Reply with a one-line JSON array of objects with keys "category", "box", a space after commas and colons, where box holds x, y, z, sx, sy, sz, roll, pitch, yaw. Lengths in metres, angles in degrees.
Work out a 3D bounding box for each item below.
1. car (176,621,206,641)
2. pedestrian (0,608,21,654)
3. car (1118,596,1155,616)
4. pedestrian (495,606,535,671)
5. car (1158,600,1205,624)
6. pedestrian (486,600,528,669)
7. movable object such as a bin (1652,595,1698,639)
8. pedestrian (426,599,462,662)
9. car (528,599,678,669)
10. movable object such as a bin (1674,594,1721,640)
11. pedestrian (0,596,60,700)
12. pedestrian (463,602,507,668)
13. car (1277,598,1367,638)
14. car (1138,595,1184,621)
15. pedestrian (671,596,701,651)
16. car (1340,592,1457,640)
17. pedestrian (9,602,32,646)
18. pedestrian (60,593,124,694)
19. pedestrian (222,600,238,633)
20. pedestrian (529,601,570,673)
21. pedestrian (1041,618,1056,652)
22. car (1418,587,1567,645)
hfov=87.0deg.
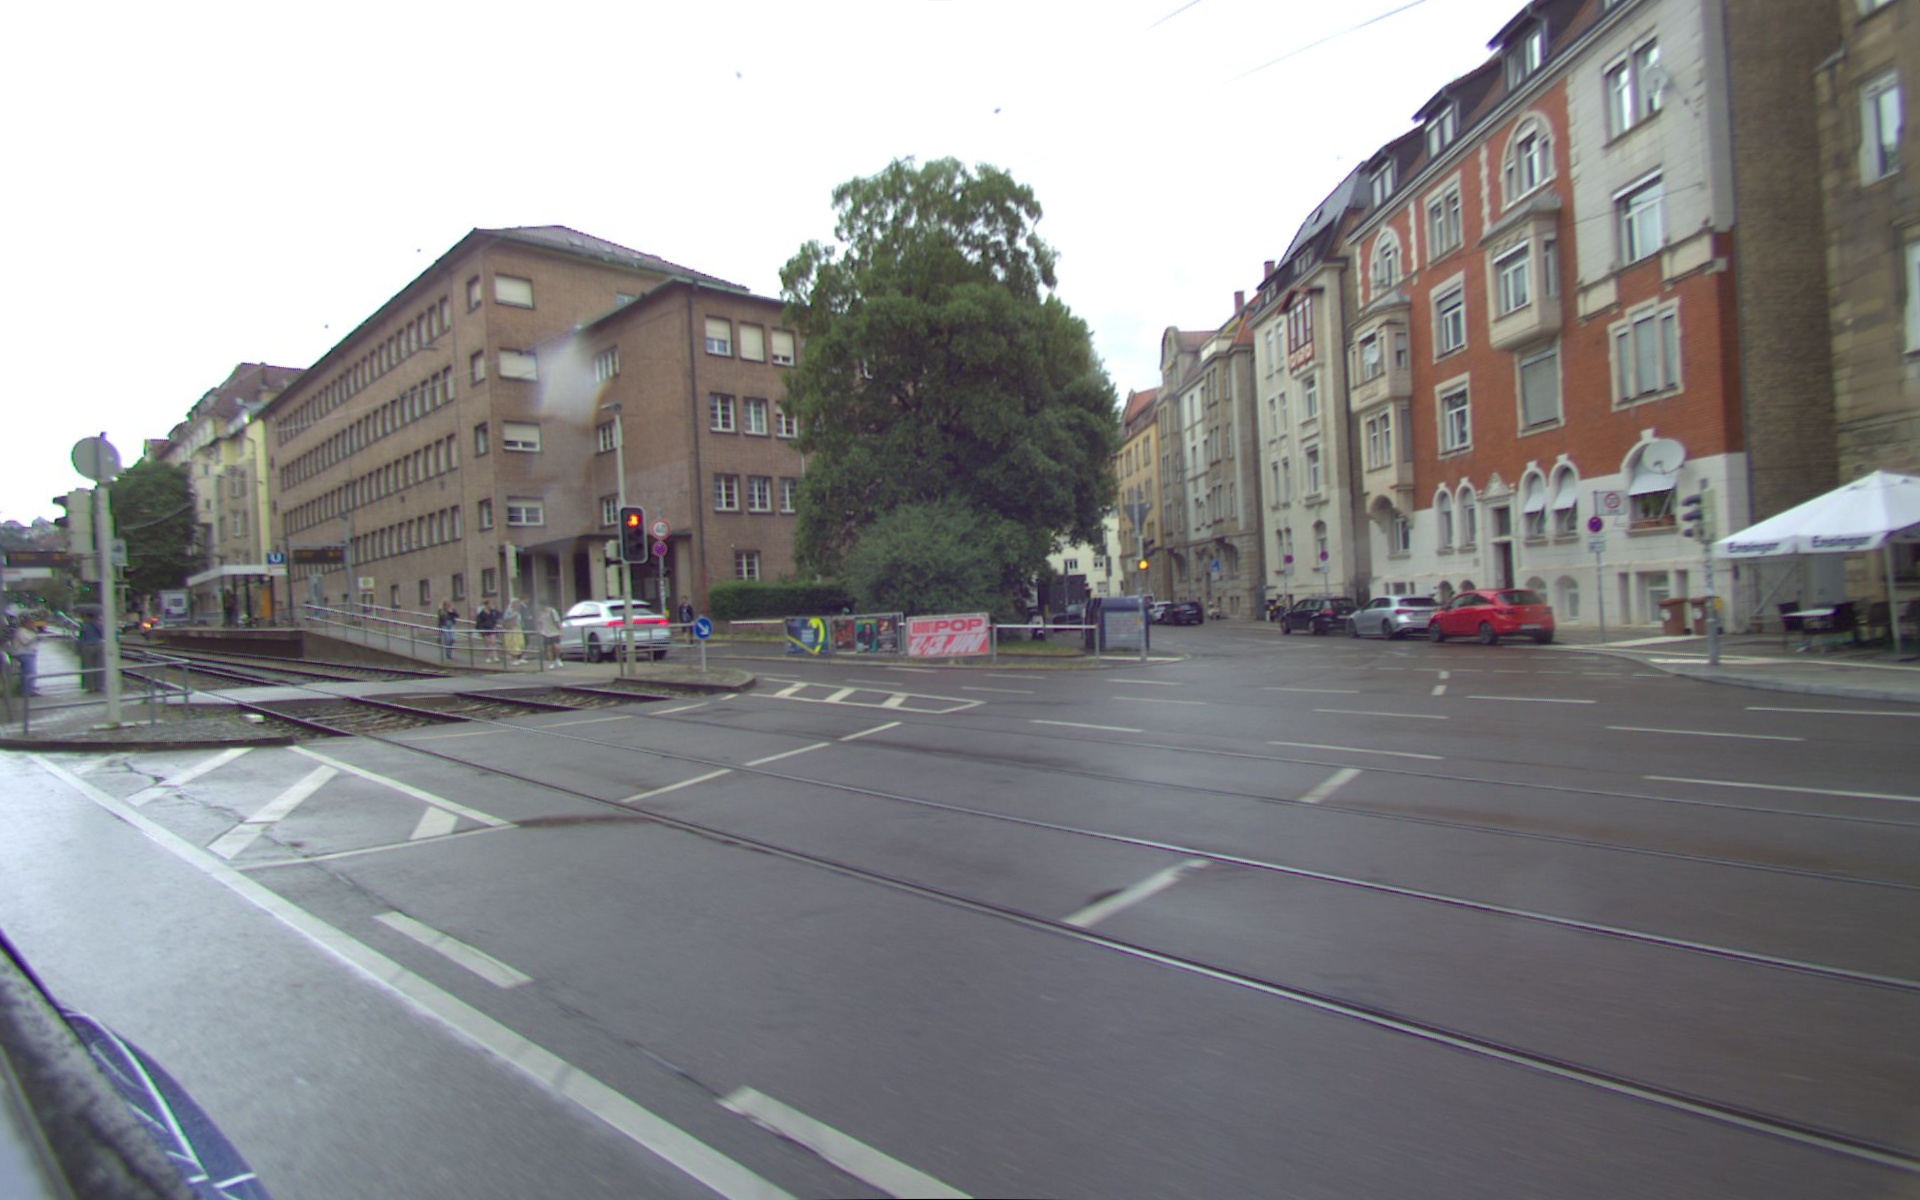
[{"category": "car", "box": [-62.551, 2.501, 82.274, 1.625, 1.477, 3.114, -2, 0, -43]}, {"category": "pedestrian", "box": [-37.986, 1.232, 40.046, 1.101, 1.788, 1.112, -3, 1, -45]}, {"category": "car", "box": [12.682, 0.428, 73.002, 1.716, 1.413, 4.003, -1, -1, -3]}, {"category": "pedestrian", "box": [-11.656, 0.993, 26.509, 0.649, 1.662, 0.756, 2, 1, 44]}, {"category": "car", "box": [13.459, 0.727, 61.635, 1.716, 1.413, 4.003, -1, -1, -3]}, {"category": "pedestrian", "box": [-11.444, 0.846, 25.586, 0.735, 1.659, 0.641, -4, 4, -44]}, {"category": "movable object such as a bin", "box": [17.447, 0.403, 24.696, 0.709, 1.050, 0.552, -1, 0, -14]}, {"category": "pedestrian", "box": [-14.470, 0.838, 28.388, 0.688, 1.711, 0.657, 1, 3, 42]}, {"category": "car", "box": [-10.085, 0.864, 28.310, 1.970, 1.640, 5.258, 0, 1, -44]}, {"category": "movable object such as a bin", "box": [17.563, 0.401, 24.110, 0.709, 1.050, 0.552, -1, 0, -14]}, {"category": "pedestrian", "box": [-19.129, 0.956, 20.482, 0.916, 2.029, 0.947, -2, 0, 0]}, {"category": "pedestrian", "box": [-12.712, 0.918, 27.078, 0.883, 1.709, 0.735, 1, 3, 44]}, {"category": "car", "box": [13.700, 0.657, 38.575, 1.716, 1.413, 4.146, -1, -1, -3]}, {"category": "car", "box": [13.234, 0.532, 66.916, 1.970, 1.643, 4.003, -1, 0, -4]}, {"category": "pedestrian", "box": [-8.519, 0.717, 31.494, 0.688, 1.688, 0.597, -2, -1, 43]}, {"category": "car", "box": [13.993, 0.491, 32.536, 1.716, 1.413, 4.171, -1, -1, -3]}, {"category": "pedestrian", "box": [-39.330, 1.007, 42.356, 0.636, 1.788, 0.711, -3, 1, -45]}, {"category": "pedestrian", "box": [-18.220, 0.902, 21.237, 0.887, 2.029, 0.948, -3, 1, -45]}, {"category": "pedestrian", "box": [-39.070, 0.893, 54.170, 0.491, 1.722, 0.580, -2, -1, 44]}, {"category": "pedestrian", "box": [-9.419, 0.832, 23.213, 0.683, 1.595, 0.959, -2, 0, -32]}, {"category": "pedestrian", "box": [2.952, 1.168, 33.822, 0.411, 1.093, 0.283, -1, -1, -21]}, {"category": "car", "box": [14.278, 0.421, 27.415, 1.716, 1.413, 4.003, -1, -1, -3]}]
